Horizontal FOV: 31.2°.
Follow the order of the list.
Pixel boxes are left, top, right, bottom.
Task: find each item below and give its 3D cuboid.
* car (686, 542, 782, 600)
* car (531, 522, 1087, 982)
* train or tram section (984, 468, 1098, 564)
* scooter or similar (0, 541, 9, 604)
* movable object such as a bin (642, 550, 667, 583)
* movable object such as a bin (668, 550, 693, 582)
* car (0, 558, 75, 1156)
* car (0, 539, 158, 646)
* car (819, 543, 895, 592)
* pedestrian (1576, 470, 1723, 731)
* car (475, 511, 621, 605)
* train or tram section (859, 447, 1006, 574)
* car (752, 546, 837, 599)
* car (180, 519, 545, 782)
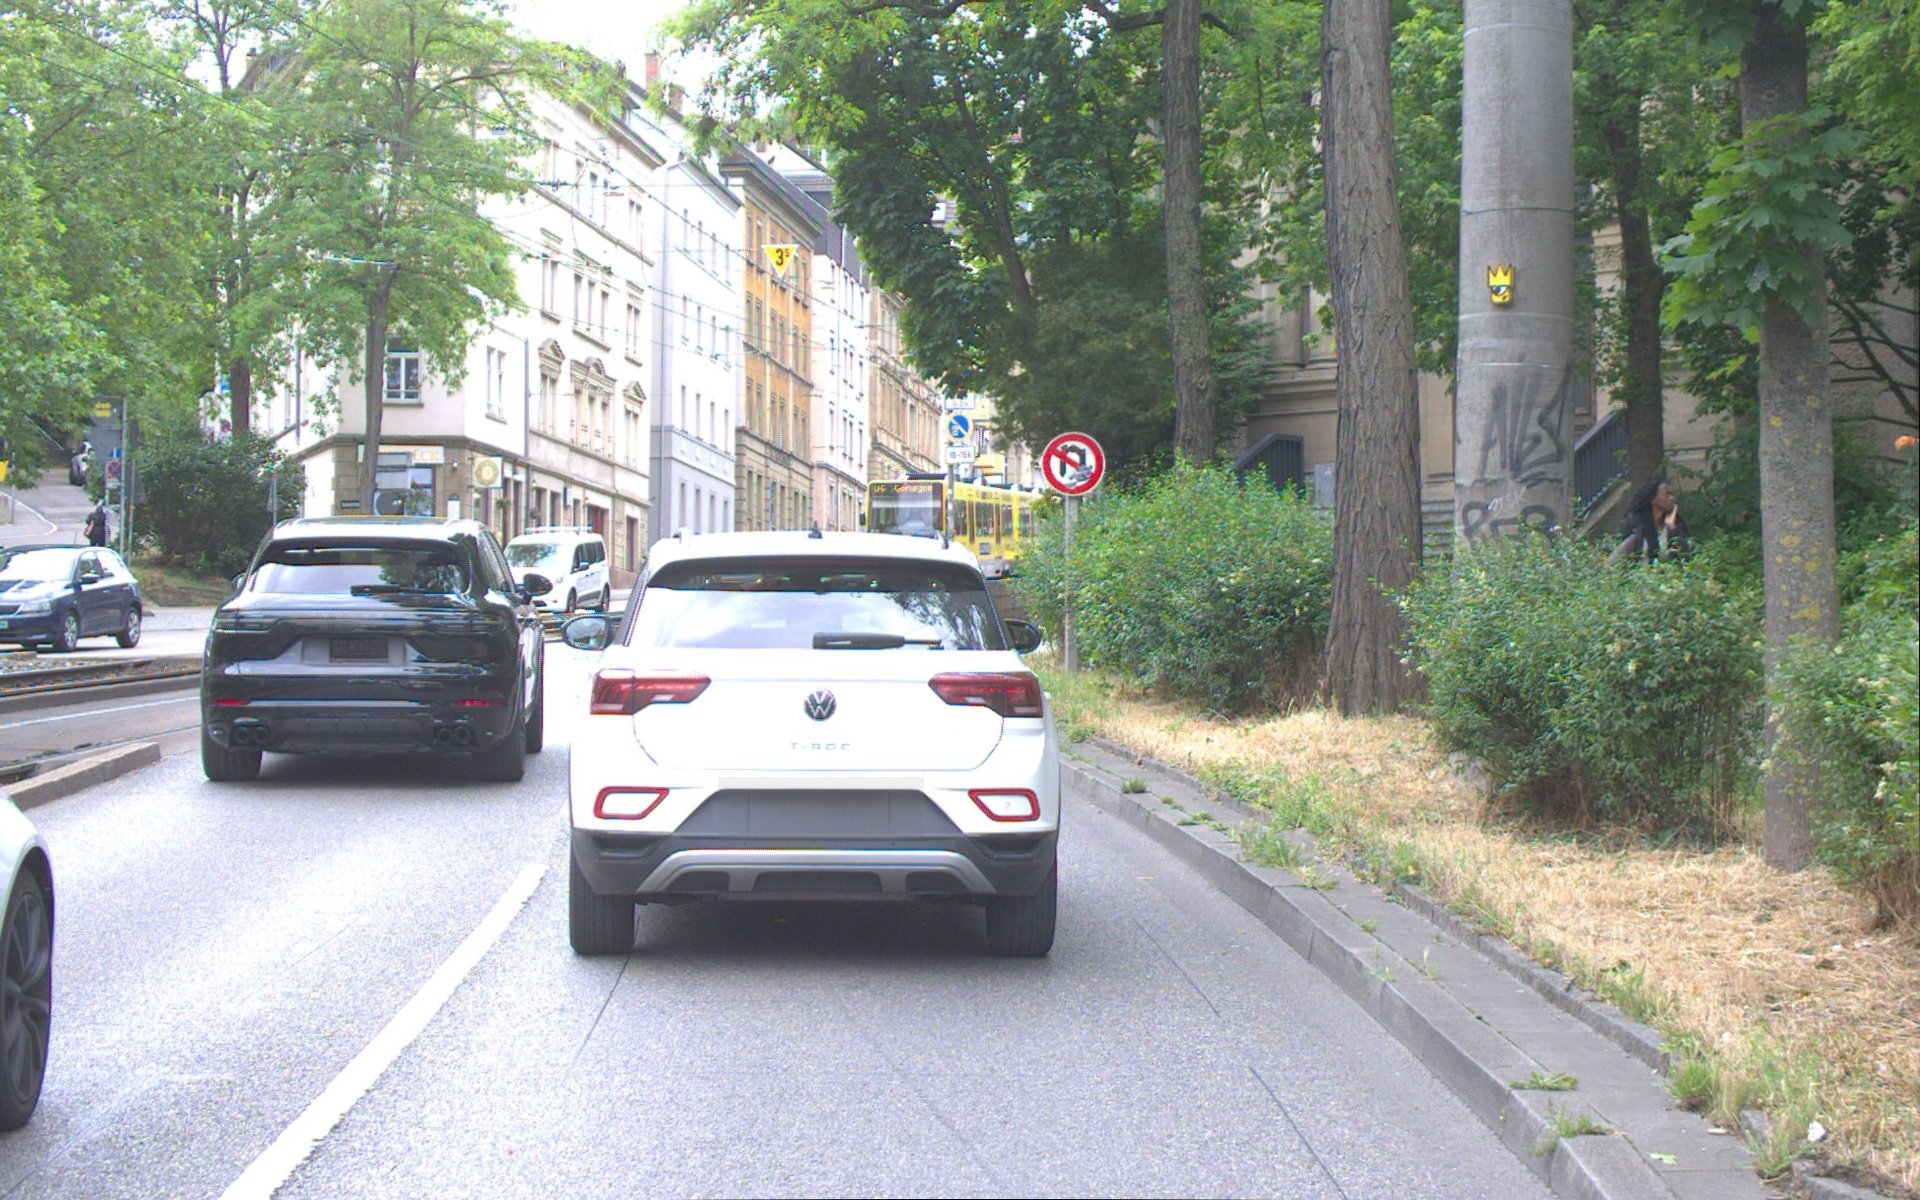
[{"bbox_3d":[-6.179,-0.800,94.244,1.994,1.546,3.999,0,1,6],"label":"car"},{"bbox_3d":[-0.667,0.478,13.632,1.878,1.549,4.001,0,1,-5],"label":"car"},{"bbox_3d":[3.572,-3.480,145.756,2.877,3.713,18.752,2,1,7],"label":"train or tram section"},{"bbox_3d":[-18.810,-0.549,66.851,0.489,1.215,1.642,2,0,-12],"label":"scooter or similar"},{"bbox_3d":[-9.935,-1.079,111.795,0.687,1.070,0.676,0,1,8],"label":"movable object such as a bin"},{"bbox_3d":[-9.423,-1.141,116.004,0.728,1.070,0.671,0,1,8],"label":"movable object such as a bin"},{"bbox_3d":[-3.203,0.652,6.870,1.878,1.450,4.618,0,1,-3],"label":"car"},{"bbox_3d":[-12.567,-0.130,47.368,1.766,1.403,4.082,0,1,5],"label":"car"},{"bbox_3d":[-3.351,-1.078,113.038,1.994,1.546,3.999,0,1,6],"label":"car"},{"bbox_3d":[4.573,-0.003,22.841,0.771,1.697,0.785,0,1,-4],"label":"pedestrian"},{"bbox_3d":[-8.761,-0.930,73.521,1.948,1.939,5.001,0,1,7],"label":"car"},{"bbox_3d":[-0.742,-2.806,110.505,2.883,3.713,14.853,2,1,6],"label":"train or tram section"},{"bbox_3d":[-4.960,-0.848,103.466,1.994,1.546,3.999,0,1,6],"label":"car"},{"bbox_3d":[-3.834,0.266,22.753,2.037,1.566,4.359,0,1,-5],"label":"car"}]
